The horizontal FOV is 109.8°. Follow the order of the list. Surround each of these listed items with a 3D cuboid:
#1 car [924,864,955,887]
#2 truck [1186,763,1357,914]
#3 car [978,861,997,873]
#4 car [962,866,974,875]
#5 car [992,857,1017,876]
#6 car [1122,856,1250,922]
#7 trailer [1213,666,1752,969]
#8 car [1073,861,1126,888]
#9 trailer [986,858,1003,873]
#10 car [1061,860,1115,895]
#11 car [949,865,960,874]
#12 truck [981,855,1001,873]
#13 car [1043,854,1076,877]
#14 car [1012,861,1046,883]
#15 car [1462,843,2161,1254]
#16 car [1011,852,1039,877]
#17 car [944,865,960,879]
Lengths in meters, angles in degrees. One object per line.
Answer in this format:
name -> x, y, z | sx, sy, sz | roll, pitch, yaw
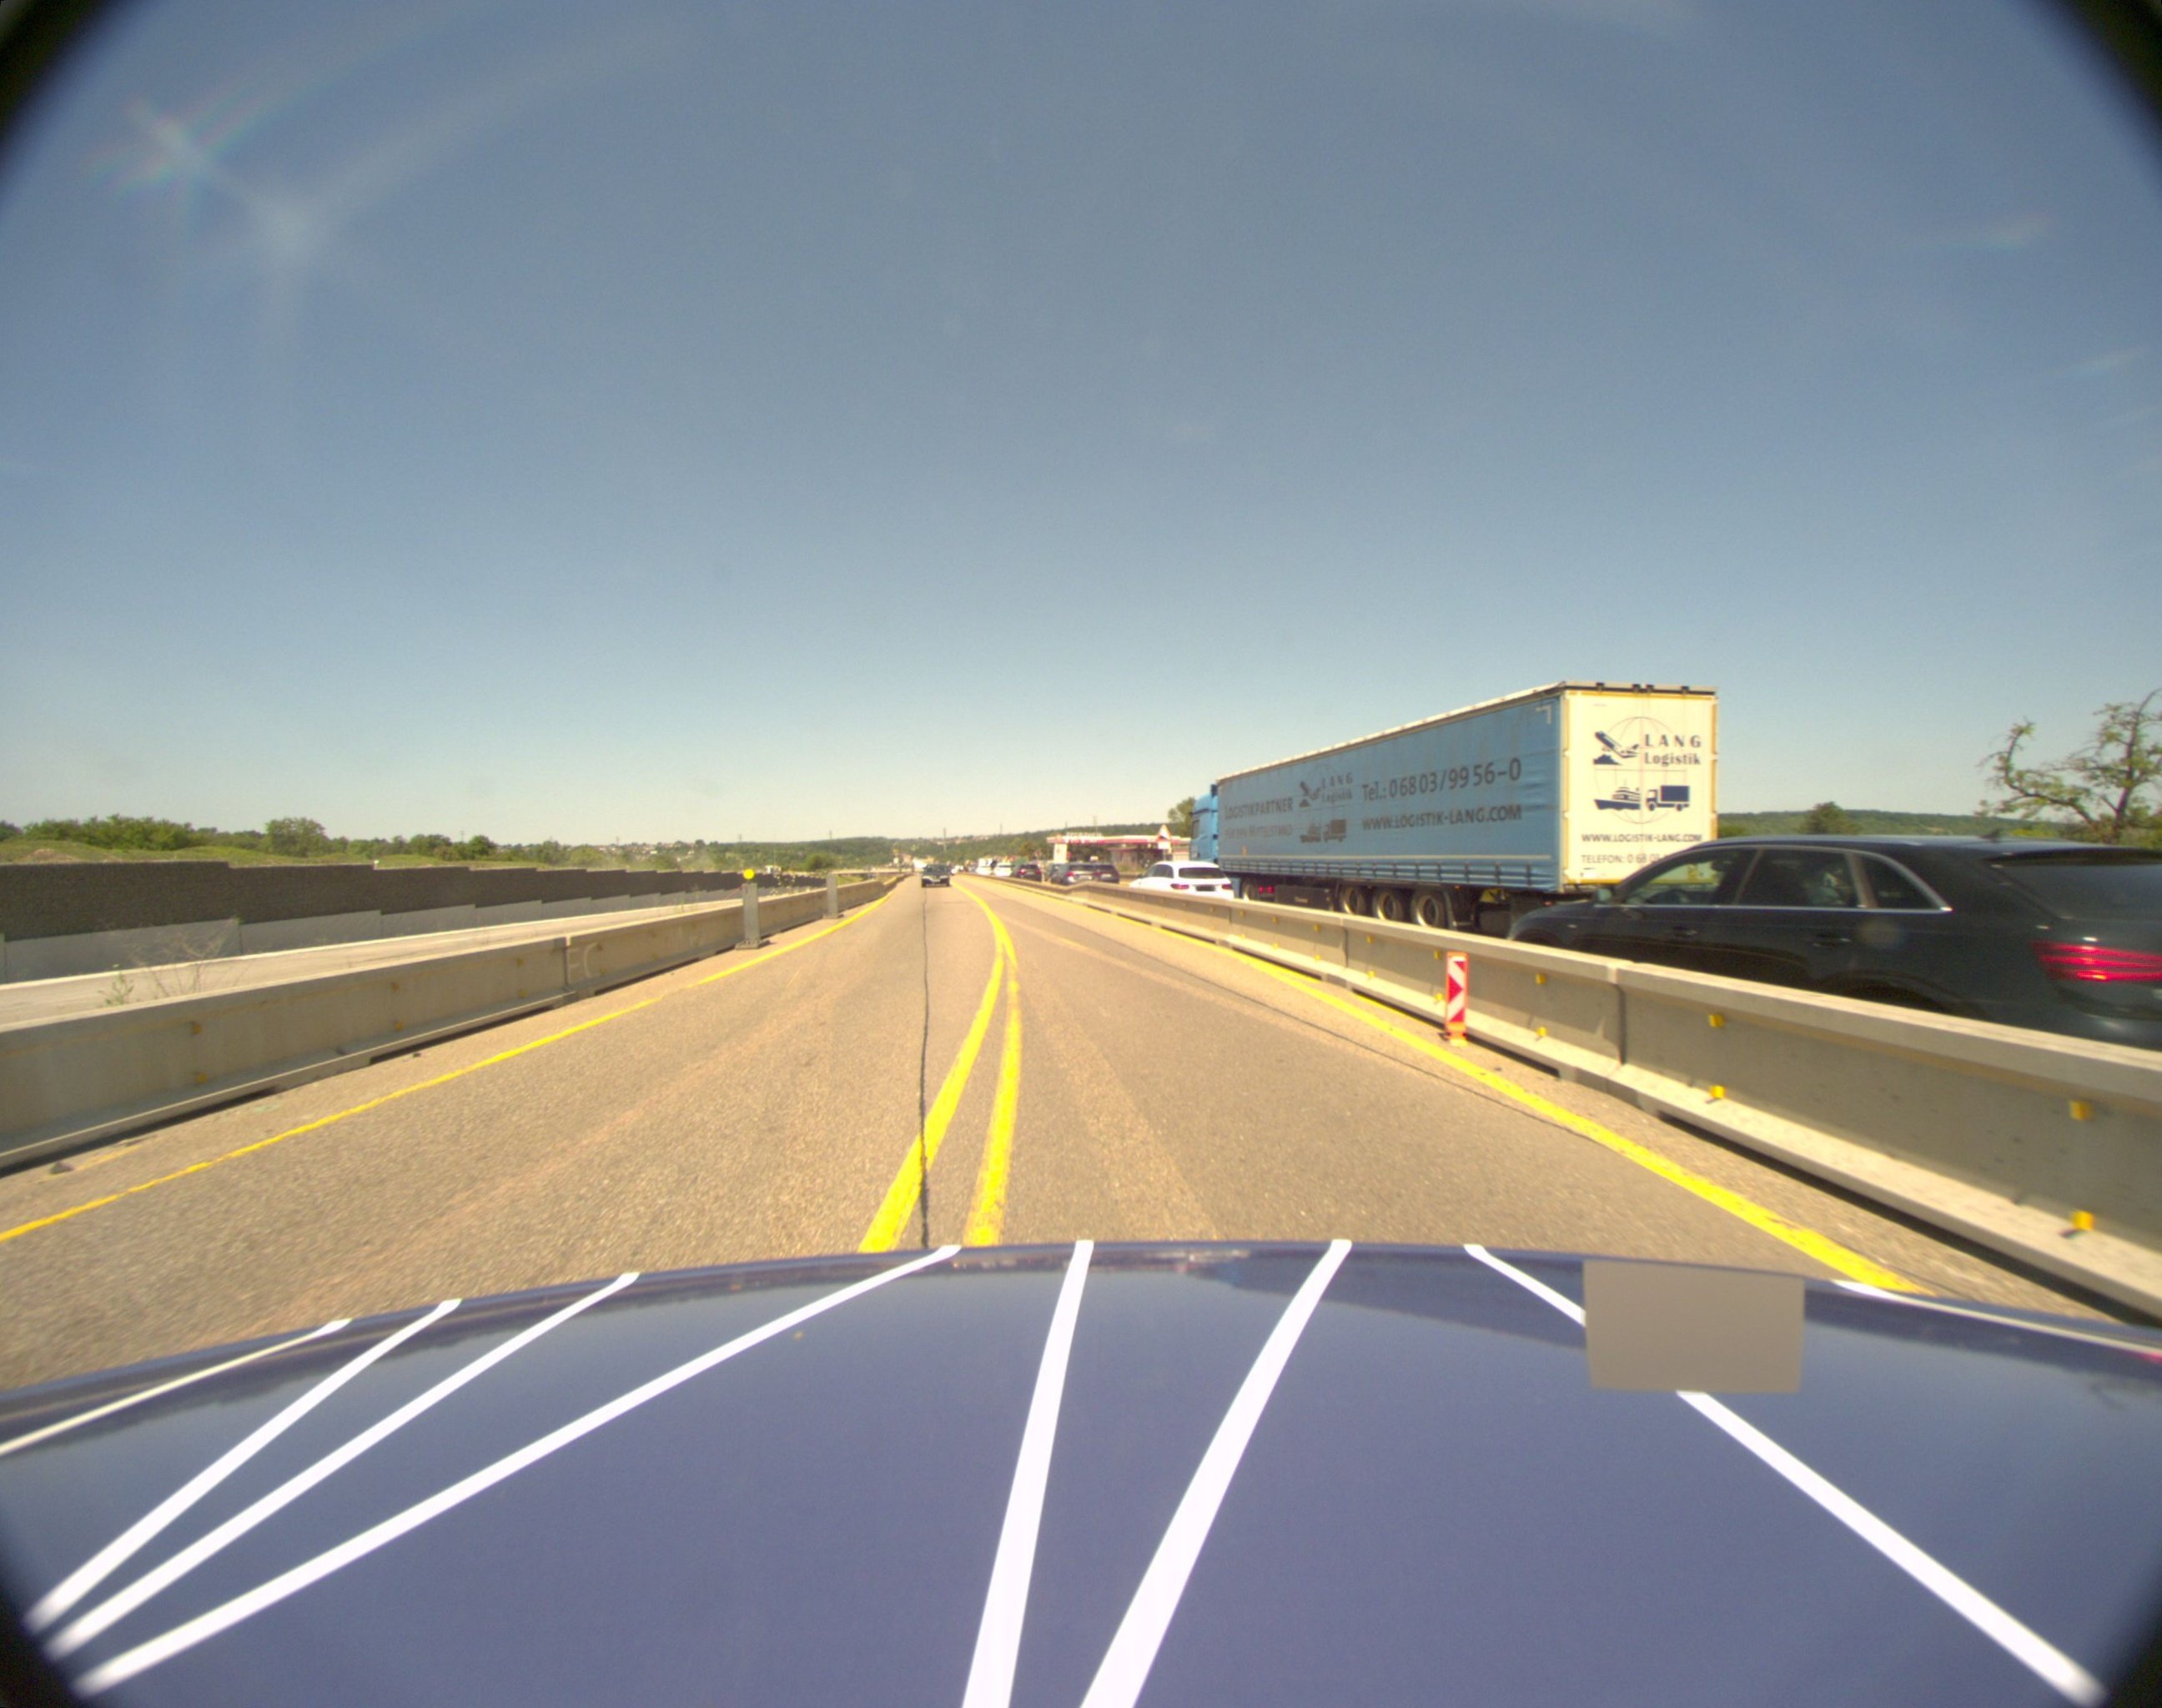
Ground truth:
car -> -8.632, 1.309, 46.301 | 1.812, 1.299, 3.997 | 0, -2, -11
truck -> 5.681, -0.401, 23.923 | 2.924, 4.104, 6.133 | -1, 0, -10
car -> -11.270, 1.554, 90.936 | 1.822, 1.368, 4.243 | -4, 0, -12
car -> -19.690, 2.874, 132.691 | 1.911, 1.599, 3.997 | 0, -1, -11
car -> -6.969, 1.122, 68.736 | 1.740, 1.470, 4.515 | -4, 0, -11
car -> 2.690, 0.870, 20.668 | 2.023, 1.436, 4.584 | -4, 0, -10
trailer -> 6.856, -0.421, 17.388 | 2.924, 4.104, 13.904 | -1, -1, -10
car -> 1.014, 1.172, 44.432 | 2.000, 1.391, 4.576 | -4, 0, -11
trailer -> -13.192, 1.747, 115.478 | 2.189, 2.300, 5.609 | 0, -1, -12
car -> 0.247, 0.998, 33.640 | 1.595, 1.432, 4.121 | 1, -1, -11
car -> -25.686, 3.113, 154.338 | 1.860, 1.828, 4.587 | 0, -2, -12
truck -> -14.571, 1.574, 122.175 | 2.489, 2.807, 8.121 | 0, -1, -11
car -> -1.681, 0.845, 58.273 | 1.773, 1.588, 3.996 | -4, 0, -12
car -> -3.655, 1.243, 52.720 | 1.780, 1.419, 4.765 | 1, -1, -12
car -> 4.892, 0.755, 5.327 | 1.773, 1.598, 4.708 | 0, 0, -5
car -> -6.063, 1.122, 81.238 | 1.921, 2.385, 6.446 | -4, 0, -12
car -> -17.282, 2.401, 101.536 | 1.819, 1.652, 3.996 | -4, 0, -12
